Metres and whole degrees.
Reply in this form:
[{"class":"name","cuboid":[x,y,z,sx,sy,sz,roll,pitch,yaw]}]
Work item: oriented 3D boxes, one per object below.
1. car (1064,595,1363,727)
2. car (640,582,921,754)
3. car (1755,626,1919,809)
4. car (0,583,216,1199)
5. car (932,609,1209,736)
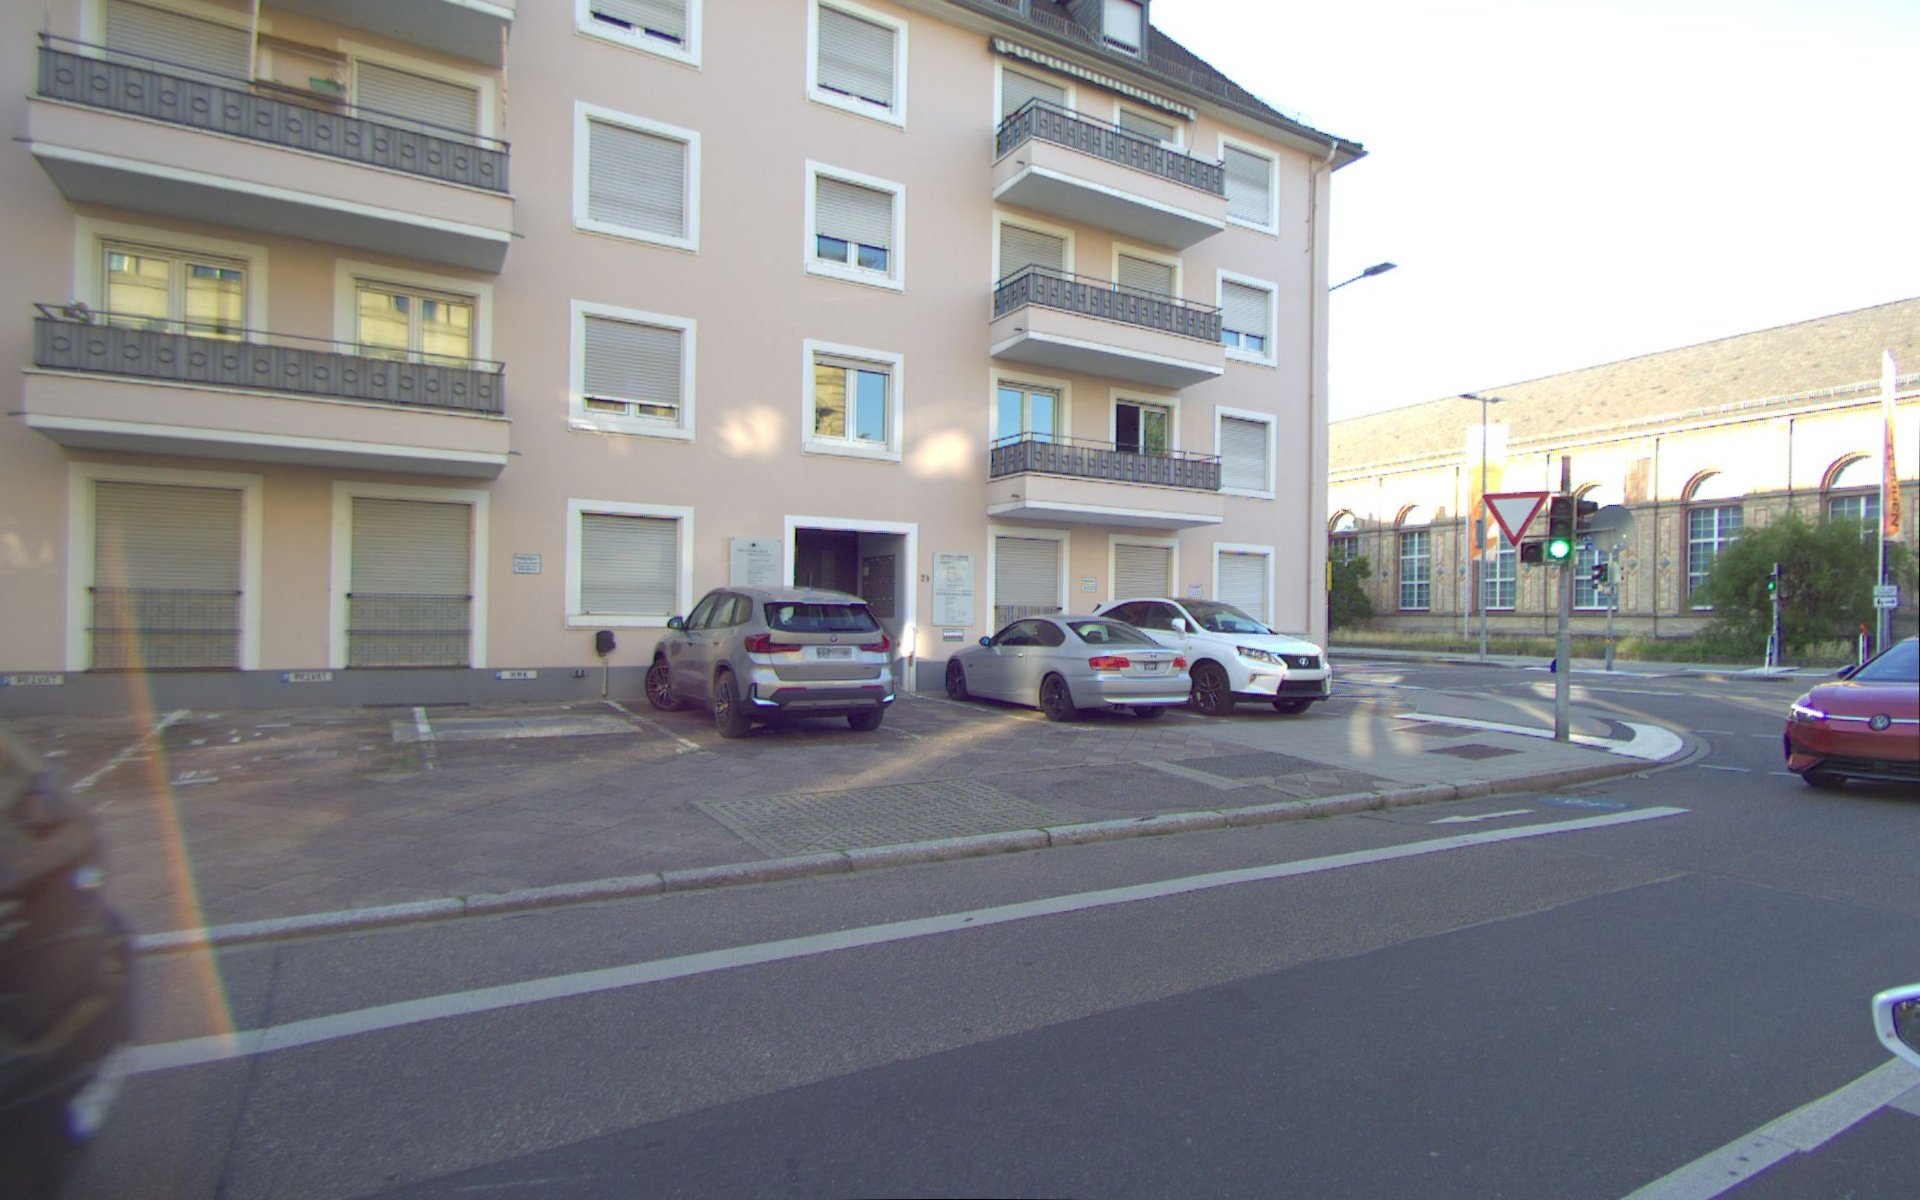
[{"class":"car","cuboid":[3.724,0.807,15.590,1.920,1.663,4.417,1,1,-31]},{"class":"car","cuboid":[-2.357,0.642,12.096,1.894,1.627,4.395,1,1,-31]},{"class":"car","cuboid":[10.284,1.043,10.025,4.784,1.566,1.825,0,-2,-26]},{"class":"car","cuboid":[-3.476,0.734,1.323,3.807,1.491,1.650,0,-1,-30]},{"class":"car","cuboid":[1.382,0.898,14.329,1.716,1.399,4.244,1,1,-31]}]
